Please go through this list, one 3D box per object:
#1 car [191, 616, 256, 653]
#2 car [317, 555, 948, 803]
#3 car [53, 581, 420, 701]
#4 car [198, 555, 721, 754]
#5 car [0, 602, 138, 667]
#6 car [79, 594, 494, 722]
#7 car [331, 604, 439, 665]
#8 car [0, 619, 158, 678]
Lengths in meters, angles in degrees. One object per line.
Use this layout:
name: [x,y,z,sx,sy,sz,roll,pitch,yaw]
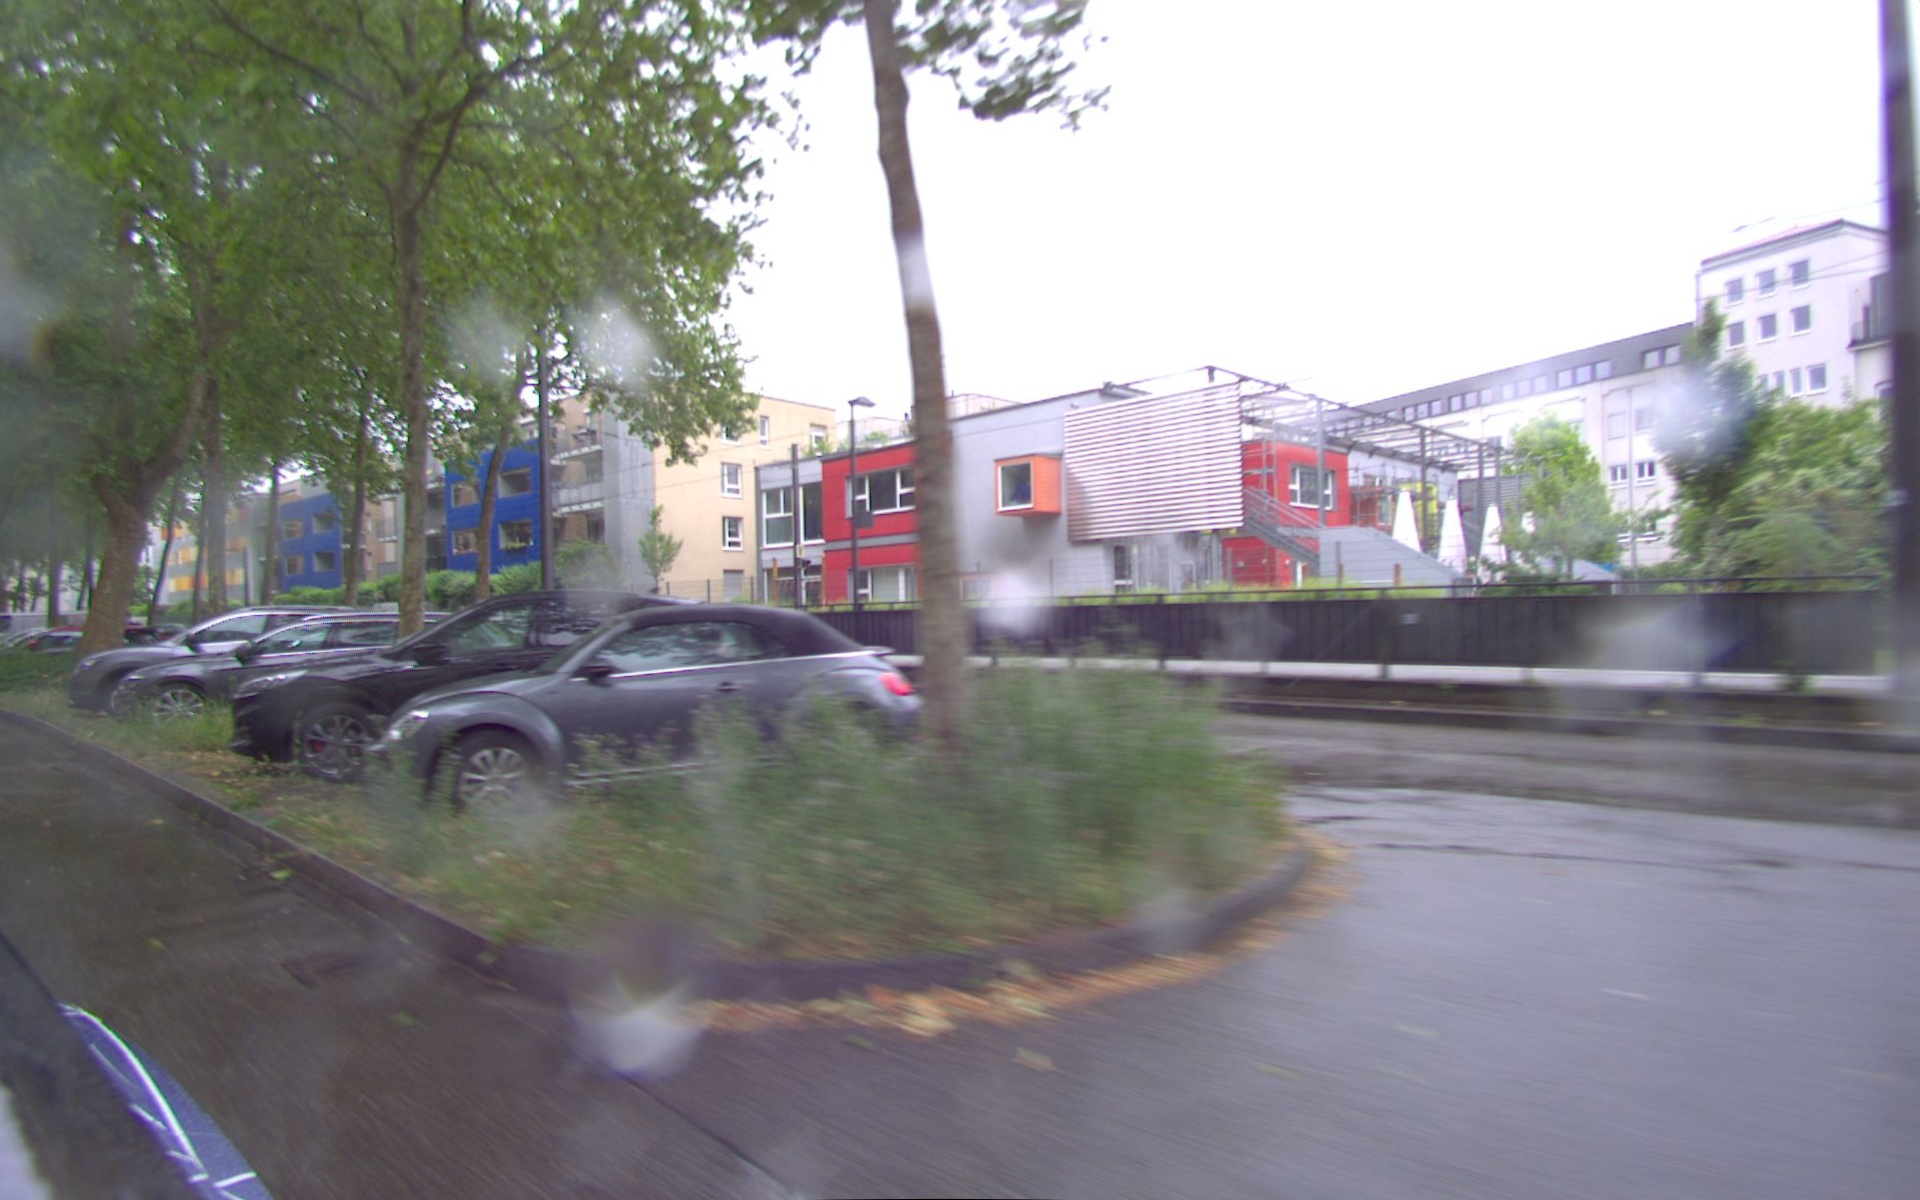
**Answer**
car: [-30.754,1.411,42.242,1.667,1.458,4.003,1,-2,-44]
car: [-2.376,0.524,7.935,4.158,1.553,1.937,0,-1,-19]
car: [-10.687,0.588,15.378,4.258,1.625,1.754,0,-1,-24]
car: [-4.518,0.468,9.747,4.158,1.622,1.754,0,-1,-19]
car: [-29.820,1.090,32.560,4.808,2.029,2.006,0,-1,-19]
car: [-8.644,0.715,13.451,4.259,1.519,1.754,0,-1,-17]
car: [-17.525,1.025,30.819,3.688,1.737,1.670,-1,-2,40]
car: [-23.920,1.254,26.789,3.931,1.497,1.665,0,-1,-27]
